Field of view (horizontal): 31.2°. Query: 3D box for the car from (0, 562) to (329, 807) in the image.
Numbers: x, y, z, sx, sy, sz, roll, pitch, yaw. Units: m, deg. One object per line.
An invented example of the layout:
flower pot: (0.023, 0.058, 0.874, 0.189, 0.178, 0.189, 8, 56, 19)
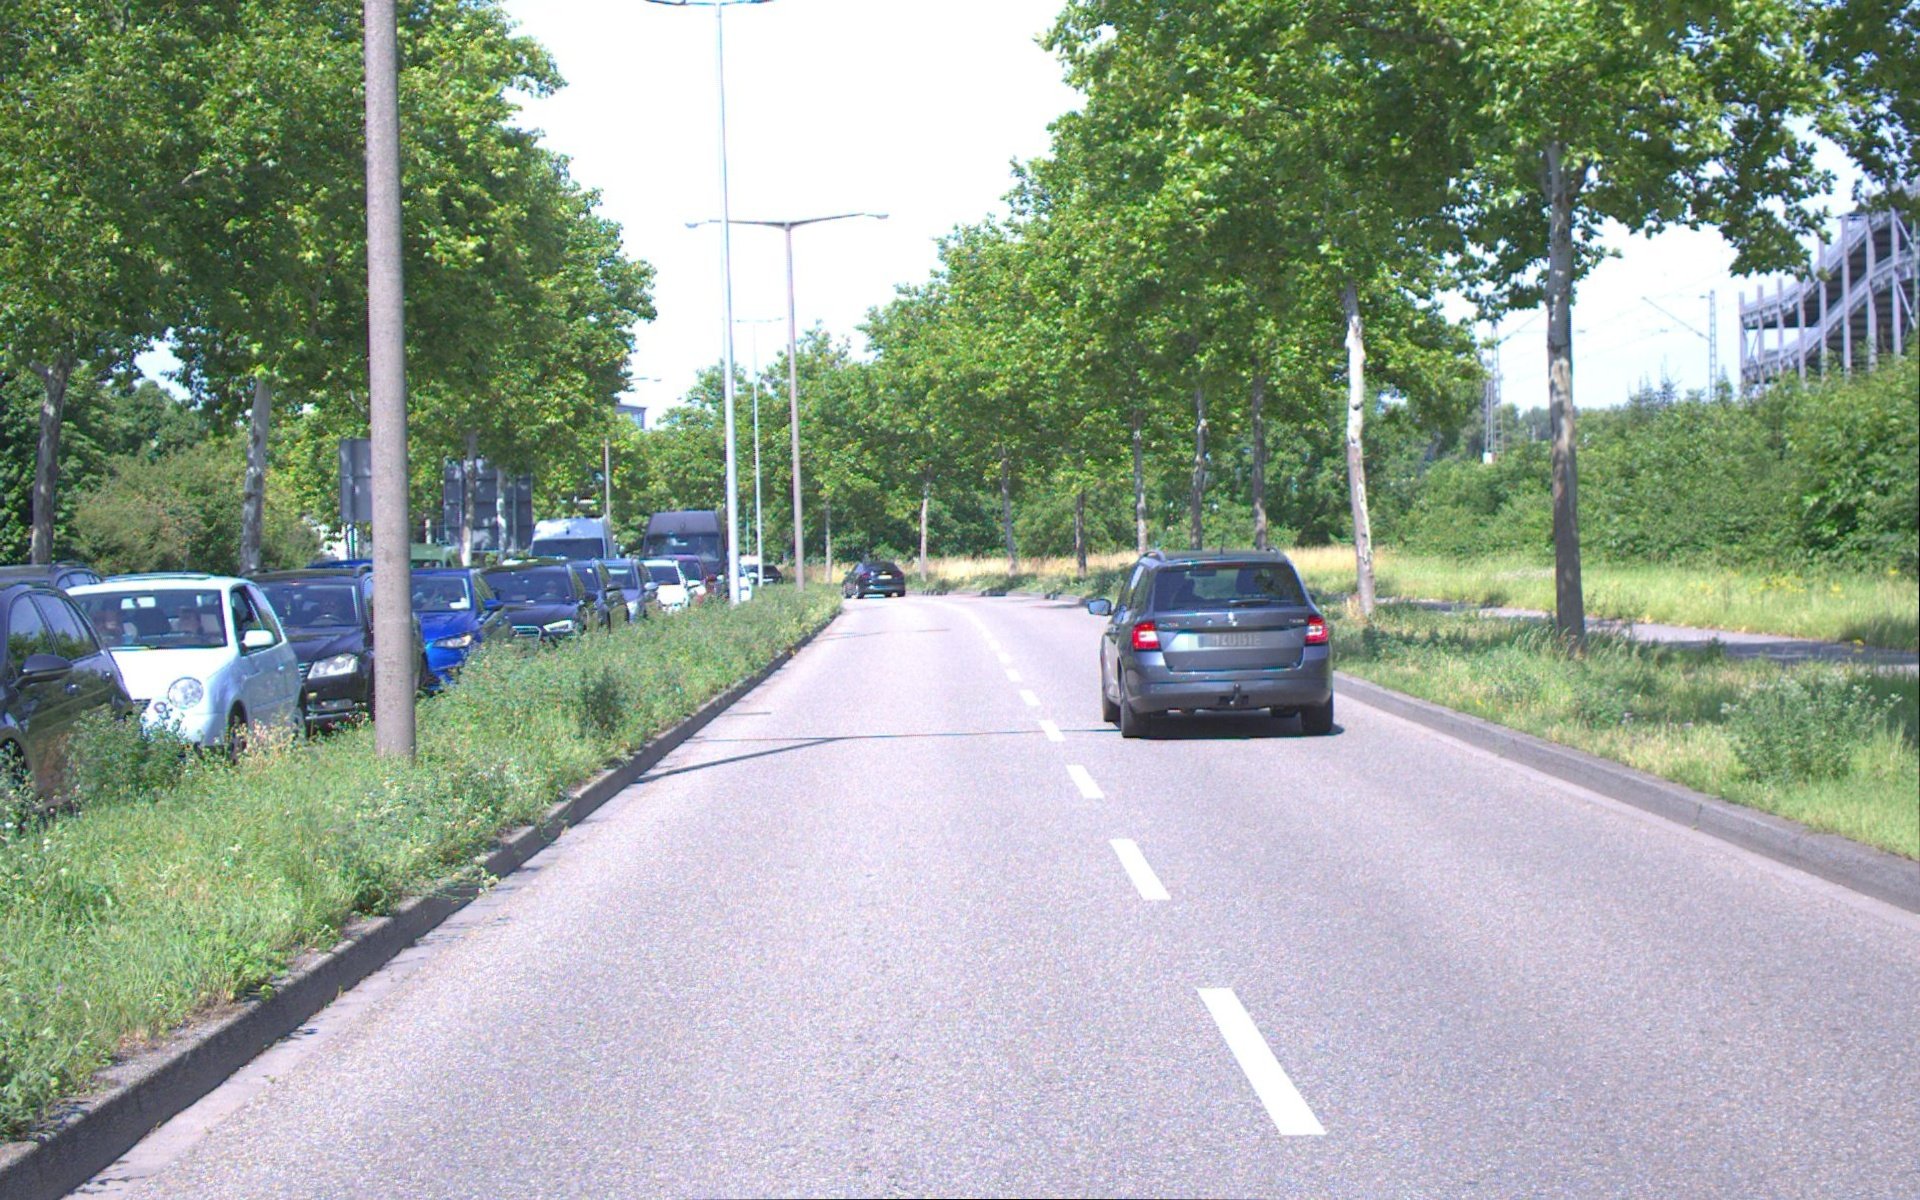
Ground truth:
car: (-5.517, 0.515, 23.497, 1.689, 1.467, 3.815, -2, 1, 0)

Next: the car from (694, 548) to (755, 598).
car: (-7.552, -0.878, 110.680, 1.689, 1.525, 3.815, -2, 1, 0)

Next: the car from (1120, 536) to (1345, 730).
car: (2.201, 0.213, 27.929, 1.674, 1.448, 4.035, 1, 1, 4)

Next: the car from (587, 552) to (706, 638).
car: (-5.771, -0.120, 63.667, 1.783, 1.454, 4.472, -2, 1, 0)

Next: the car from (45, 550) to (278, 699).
car: (-8.928, 0.236, 38.734, 1.689, 1.525, 3.939, -2, 1, 0)

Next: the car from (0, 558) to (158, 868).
car: (-5.487, 0.570, 17.710, 1.689, 1.468, 4.218, -3, 1, 0)

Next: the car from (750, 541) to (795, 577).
car: (-8.401, -1.827, 153.509, 1.908, 1.458, 4.582, -2, 0, -4)

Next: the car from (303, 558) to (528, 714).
car: (-5.716, 0.334, 36.502, 1.784, 1.484, 4.212, -2, 1, -2)

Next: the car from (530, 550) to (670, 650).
car: (-5.978, -0.033, 57.605, 1.813, 1.525, 4.642, -2, 1, 0)

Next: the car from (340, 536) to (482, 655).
car: (-9.116, -0.090, 57.366, 1.689, 1.852, 4.036, -2, 0, 0)

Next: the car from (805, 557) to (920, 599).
car: (-3.684, -0.844, 129.475, 1.909, 1.458, 4.620, -2, 3, -39)

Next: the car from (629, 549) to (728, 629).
car: (-5.715, -0.245, 70.096, 1.689, 1.505, 3.815, -2, 1, 0)

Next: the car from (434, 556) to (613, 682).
car: (-5.583, 0.200, 44.393, 1.823, 1.460, 4.451, -2, 1, -2)

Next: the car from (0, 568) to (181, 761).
car: (-8.668, 0.566, 32.396, 1.689, 1.641, 4.178, -2, 1, 0)

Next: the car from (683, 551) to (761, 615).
car: (-5.990, -0.420, 86.765, 1.689, 1.525, 3.814, -2, 0, 0)

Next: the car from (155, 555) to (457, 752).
car: (-5.721, 0.405, 30.637, 1.758, 1.525, 4.828, -2, 1, 0)

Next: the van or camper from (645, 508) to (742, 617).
van or camper: (-6.105, -0.839, 79.243, 1.938, 2.360, 5.398, -2, 0, -2)
